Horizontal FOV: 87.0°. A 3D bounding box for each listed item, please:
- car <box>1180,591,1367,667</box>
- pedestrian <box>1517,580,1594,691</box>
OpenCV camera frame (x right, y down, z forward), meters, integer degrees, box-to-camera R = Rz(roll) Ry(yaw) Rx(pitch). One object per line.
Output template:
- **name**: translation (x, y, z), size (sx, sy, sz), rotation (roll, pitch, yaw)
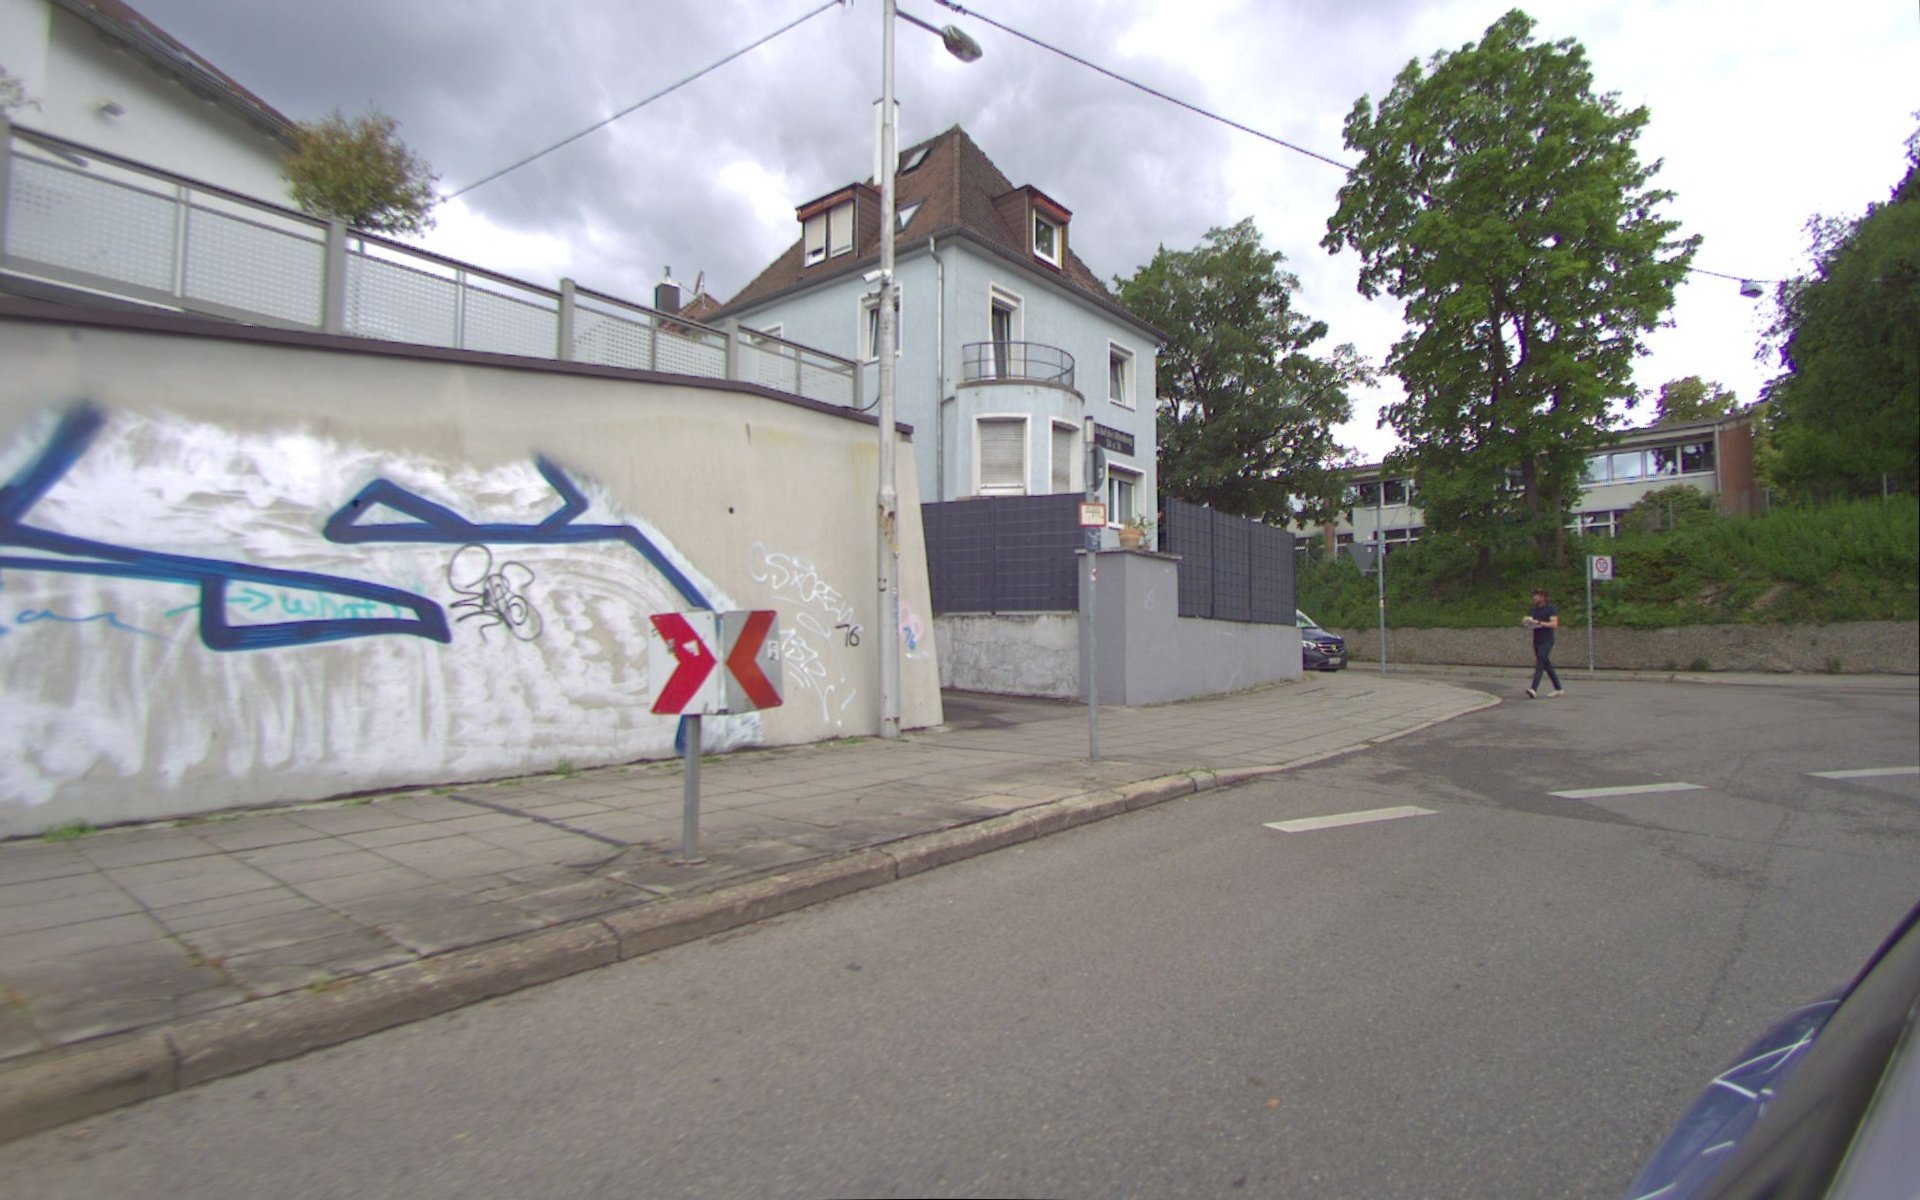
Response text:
- **car**: translation (8.448, 0.821, 27.766), size (1.912, 1.888, 4.841), rotation (2, -3, -32)
- **pedestrian**: translation (10.130, 0.599, 17.238), size (0.965, 1.852, 0.575), rotation (1, -2, -5)
